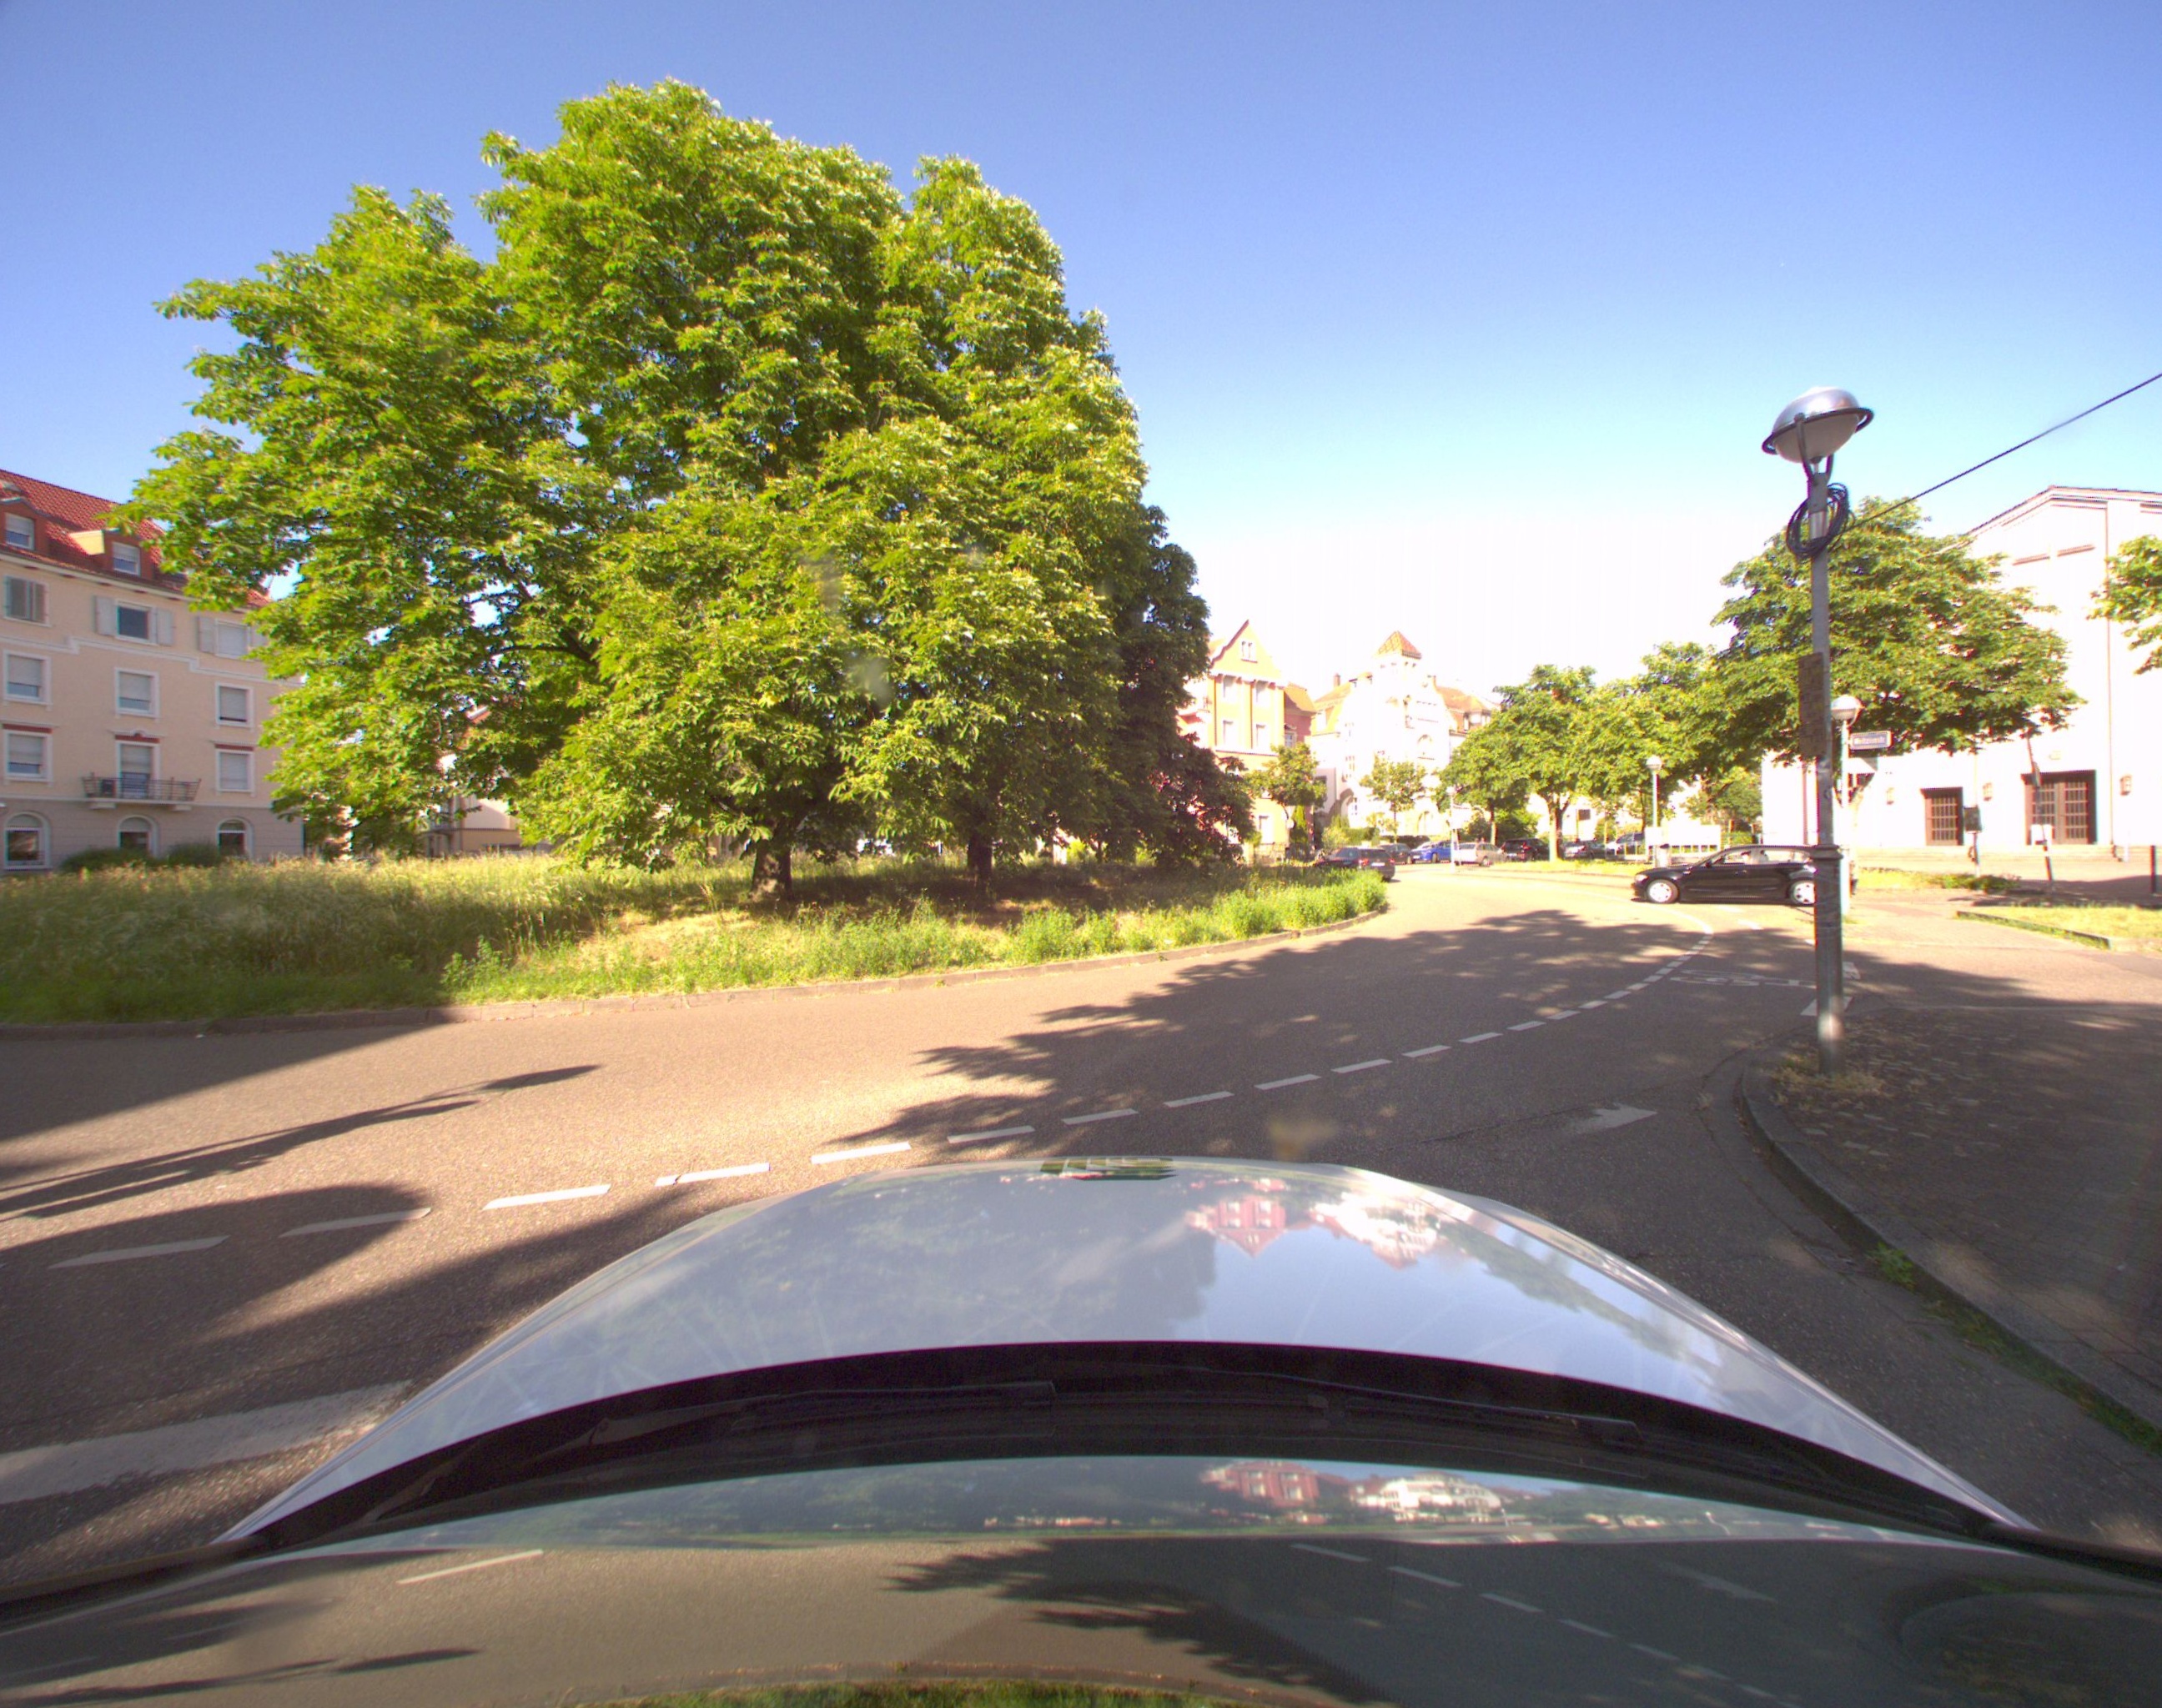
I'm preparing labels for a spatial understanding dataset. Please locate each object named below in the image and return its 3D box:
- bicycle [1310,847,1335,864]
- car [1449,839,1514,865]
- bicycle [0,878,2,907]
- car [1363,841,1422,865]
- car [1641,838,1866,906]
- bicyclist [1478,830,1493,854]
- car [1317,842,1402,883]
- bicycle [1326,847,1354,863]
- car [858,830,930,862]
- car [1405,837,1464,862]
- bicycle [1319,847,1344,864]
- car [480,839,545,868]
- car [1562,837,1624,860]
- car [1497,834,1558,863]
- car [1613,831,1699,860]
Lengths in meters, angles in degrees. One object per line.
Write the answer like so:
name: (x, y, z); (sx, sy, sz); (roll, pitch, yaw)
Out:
bicycle: (16.596, 0.084, 56.011); (0.548, 1.115, 1.709); (-1, 2, -34)
car: (23.325, -0.156, 47.391); (4.360, 1.415, 1.789); (-1, 1, -40)
bicycle: (-40.635, 1.454, 29.579); (0.498, 1.088, 1.690); (1, 1, 8)
car: (21.284, -0.067, 55.560); (4.361, 1.483, 1.788); (-2, -2, -40)
car: (15.821, 0.396, 19.278); (3.950, 1.419, 1.882); (-1, 1, 45)
bicyclist: (29.300, -0.867, 58.995); (0.726, 1.714, 0.639); (-1, -1, -35)
car: (11.329, 0.317, 33.434); (1.819, 1.532, 3.993); (-1, 0, -5)
bicycle: (18.118, 0.067, 56.914); (1.806, 1.107, 0.504); (1, 2, 40)
car: (-15.616, -0.673, 67.827); (6.294, 2.600, 2.117); (0, 0, 34)
car: (25.250, -0.315, 58.120); (4.418, 1.562, 1.790); (-2, -2, -35)
bicycle: (17.398, 0.083, 56.534); (0.548, 1.115, 1.709); (-1, 2, -34)
car: (-39.334, -0.023, 56.327); (4.502, 1.909, 2.155); (-1, 0, 33)
car: (34.281, -0.402, 54.511); (4.353, 1.473, 1.792); (-1, 1, -32)
car: (27.407, -0.375, 49.930); (4.360, 1.728, 1.789); (-1, 1, -40)
car: (41.428, -0.613, 58.774); (1.819, 2.001, 4.724); (-1, 1, -39)
